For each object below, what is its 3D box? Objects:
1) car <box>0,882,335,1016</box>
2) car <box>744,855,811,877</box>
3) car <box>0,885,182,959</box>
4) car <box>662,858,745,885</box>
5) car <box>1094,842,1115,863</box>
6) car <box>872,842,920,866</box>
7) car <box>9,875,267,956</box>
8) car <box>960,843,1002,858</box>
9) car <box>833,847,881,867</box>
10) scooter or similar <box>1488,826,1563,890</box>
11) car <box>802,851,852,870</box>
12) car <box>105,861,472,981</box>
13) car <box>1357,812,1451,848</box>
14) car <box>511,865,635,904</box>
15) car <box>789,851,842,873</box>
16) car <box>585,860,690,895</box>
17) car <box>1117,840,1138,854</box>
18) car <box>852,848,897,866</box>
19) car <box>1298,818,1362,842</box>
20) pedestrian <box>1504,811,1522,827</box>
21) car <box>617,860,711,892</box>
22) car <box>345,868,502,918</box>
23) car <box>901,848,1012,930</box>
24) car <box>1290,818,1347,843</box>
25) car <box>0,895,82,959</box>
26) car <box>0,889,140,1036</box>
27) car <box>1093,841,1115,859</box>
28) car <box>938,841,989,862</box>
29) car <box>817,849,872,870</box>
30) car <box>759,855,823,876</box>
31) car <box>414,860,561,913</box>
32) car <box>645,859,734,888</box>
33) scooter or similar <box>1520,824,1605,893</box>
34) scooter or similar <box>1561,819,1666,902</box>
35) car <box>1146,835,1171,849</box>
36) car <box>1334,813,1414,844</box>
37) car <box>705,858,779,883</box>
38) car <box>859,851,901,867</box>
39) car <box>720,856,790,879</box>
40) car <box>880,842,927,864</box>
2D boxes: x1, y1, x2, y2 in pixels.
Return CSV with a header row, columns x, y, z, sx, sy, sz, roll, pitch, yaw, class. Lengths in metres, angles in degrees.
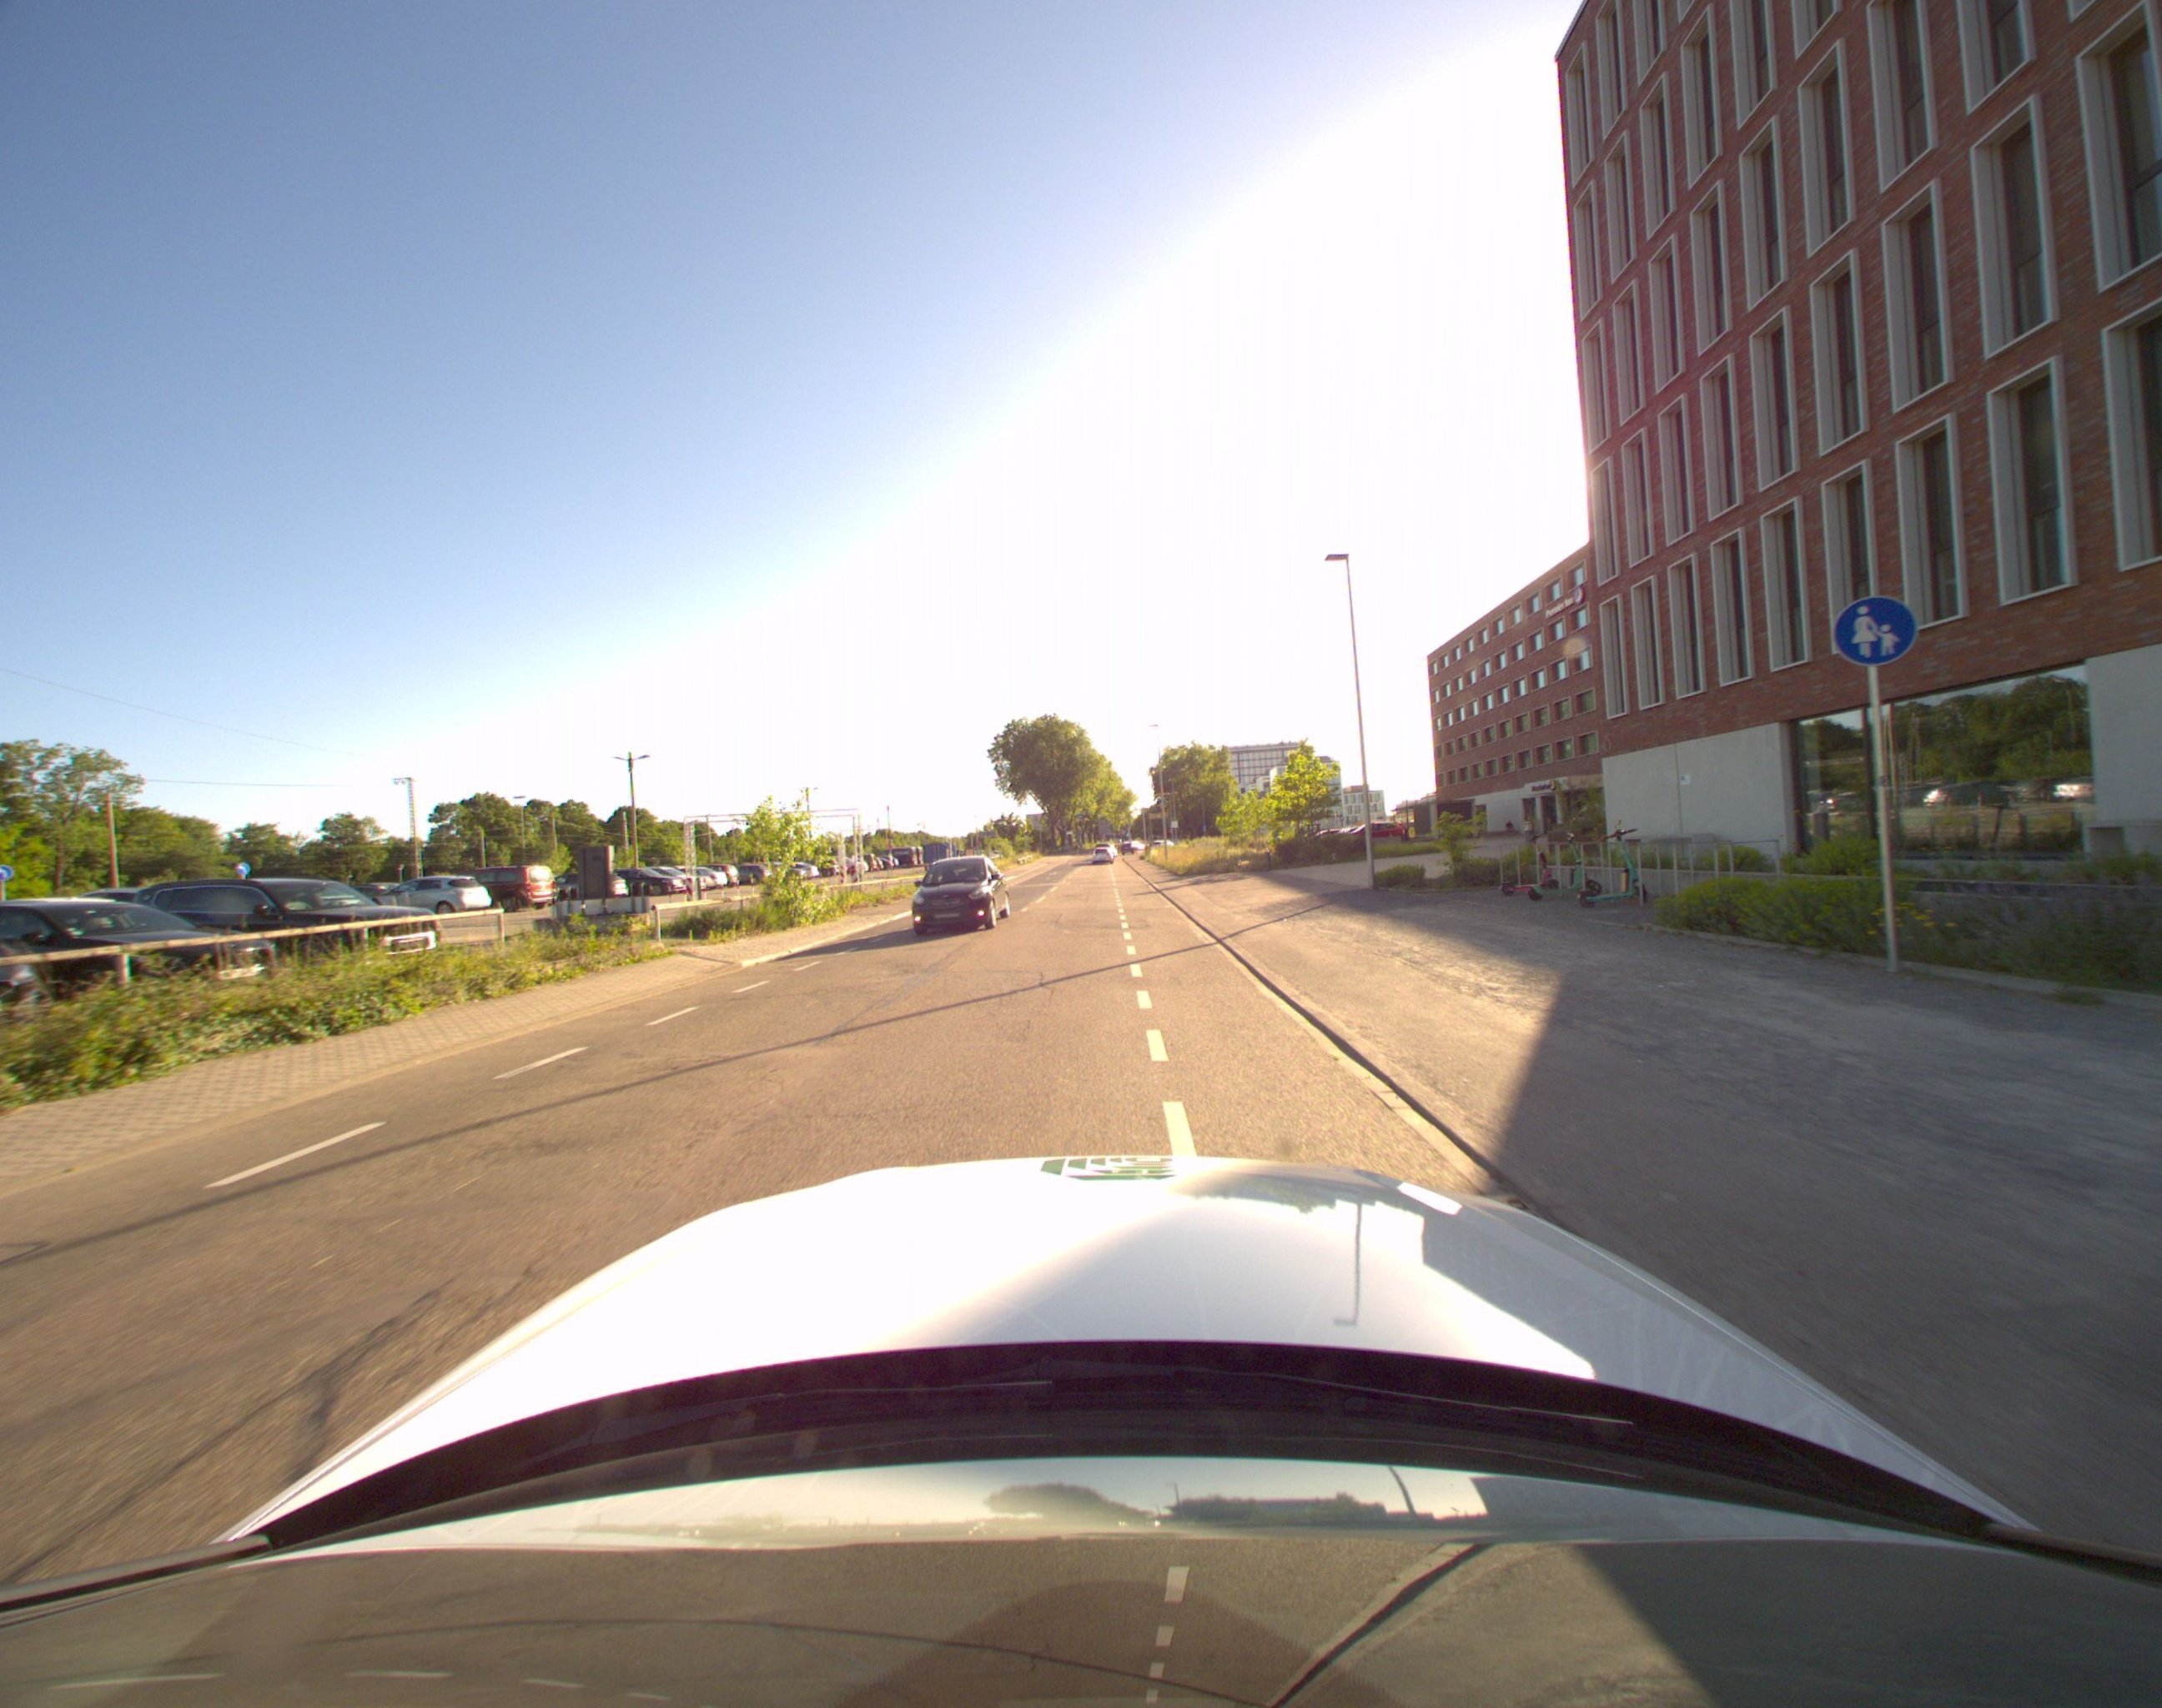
x,y,z,sx,sy,sz,roll,pitch,yaw,class
-13.529,1.300,11.321,4.410,1.461,2.050,-4,1,3,car
-23.160,0.922,62.313,4.307,1.376,1.879,-3,1,1,car
-23.986,1.598,18.720,4.150,1.397,2.047,-4,1,-2,car
-23.874,1.093,51.609,4.305,1.463,1.880,-3,1,2,car
2.291,-0.192,77.112,1.812,1.768,4.633,-3,1,3,car
-21.827,0.000,96.350,4.909,2.459,2.320,-4,0,1,car
-24.195,1.529,21.035,4.149,1.662,1.965,-4,1,-1,car
-11.557,-0.425,94.063,4.526,1.557,1.879,-3,1,1,car
-22.956,0.334,83.496,4.307,1.791,1.879,-3,1,1,car
8.923,0.081,16.365,1.237,1.195,0.341,-4,1,6,scooter or similar
-23.345,0.617,74.942,3.869,1.519,1.879,-3,1,1,car
-13.706,1.107,14.299,4.410,1.670,2.050,-4,1,3,car
16.676,-1.241,42.191,4.164,1.580,1.854,-3,1,5,car
-23.886,1.413,38.374,4.555,1.480,1.994,-3,1,4,car
-22.957,0.685,70.531,3.869,1.603,1.879,-3,1,1,car
-23.912,1.266,44.029,4.558,1.585,1.859,-3,1,2,car
5.840,-0.891,101.816,2.152,1.683,4.008,-4,0,7,car
-22.458,0.322,88.750,4.307,1.618,1.879,-3,1,1,car
18.359,-1.766,60.126,4.164,1.580,1.854,-3,1,5,car
36.847,-2.964,69.443,0.925,1.310,1.011,-3,1,2,pedestrian
-23.750,1.242,46.435,4.305,1.523,1.880,-3,1,2,car
-24.742,1.460,30.755,4.350,1.545,1.859,-3,1,2,car
-2.634,0.689,18.138,1.648,1.503,4.001,-5,0,2,car
18.419,-1.843,63.278,3.968,1.705,1.854,-3,1,5,car
-29.909,2.054,21.624,4.149,1.529,1.965,-4,1,-1,car
-13.468,1.291,8.728,4.410,1.461,2.050,-4,1,3,car
1.999,-0.405,70.891,1.782,1.420,4.003,-3,1,3,car
-11.939,-0.251,82.863,4.828,1.834,2.001,-3,1,1,car
-22.569,0.517,77.786,4.558,1.741,2.061,-3,1,5,car
-23.150,0.928,65.110,4.307,1.376,1.879,-3,1,1,car
-24.062,1.281,33.121,4.558,1.805,1.859,-3,1,2,car
-23.520,1.163,49.022,4.305,1.393,1.880,-3,1,2,car
8.771,0.086,14.858,1.237,1.155,0.366,-4,1,6,scooter or similar
8.678,0.111,13.302,1.334,1.245,0.424,-4,1,6,scooter or similar
10.352,-1.619,108.628,2.145,1.684,4.021,-3,0,21,car
17.621,-1.517,49.079,4.164,1.580,1.854,-3,0,5,car
-23.671,1.130,56.941,4.307,1.419,1.879,-3,1,1,car
-22.520,0.545,91.318,4.193,1.618,1.879,-3,1,1,car
-23.927,0.997,59.823,4.307,1.419,1.879,-3,1,1,car
-21.510,-0.141,99.027,5.078,2.459,2.320,-3,1,1,car
